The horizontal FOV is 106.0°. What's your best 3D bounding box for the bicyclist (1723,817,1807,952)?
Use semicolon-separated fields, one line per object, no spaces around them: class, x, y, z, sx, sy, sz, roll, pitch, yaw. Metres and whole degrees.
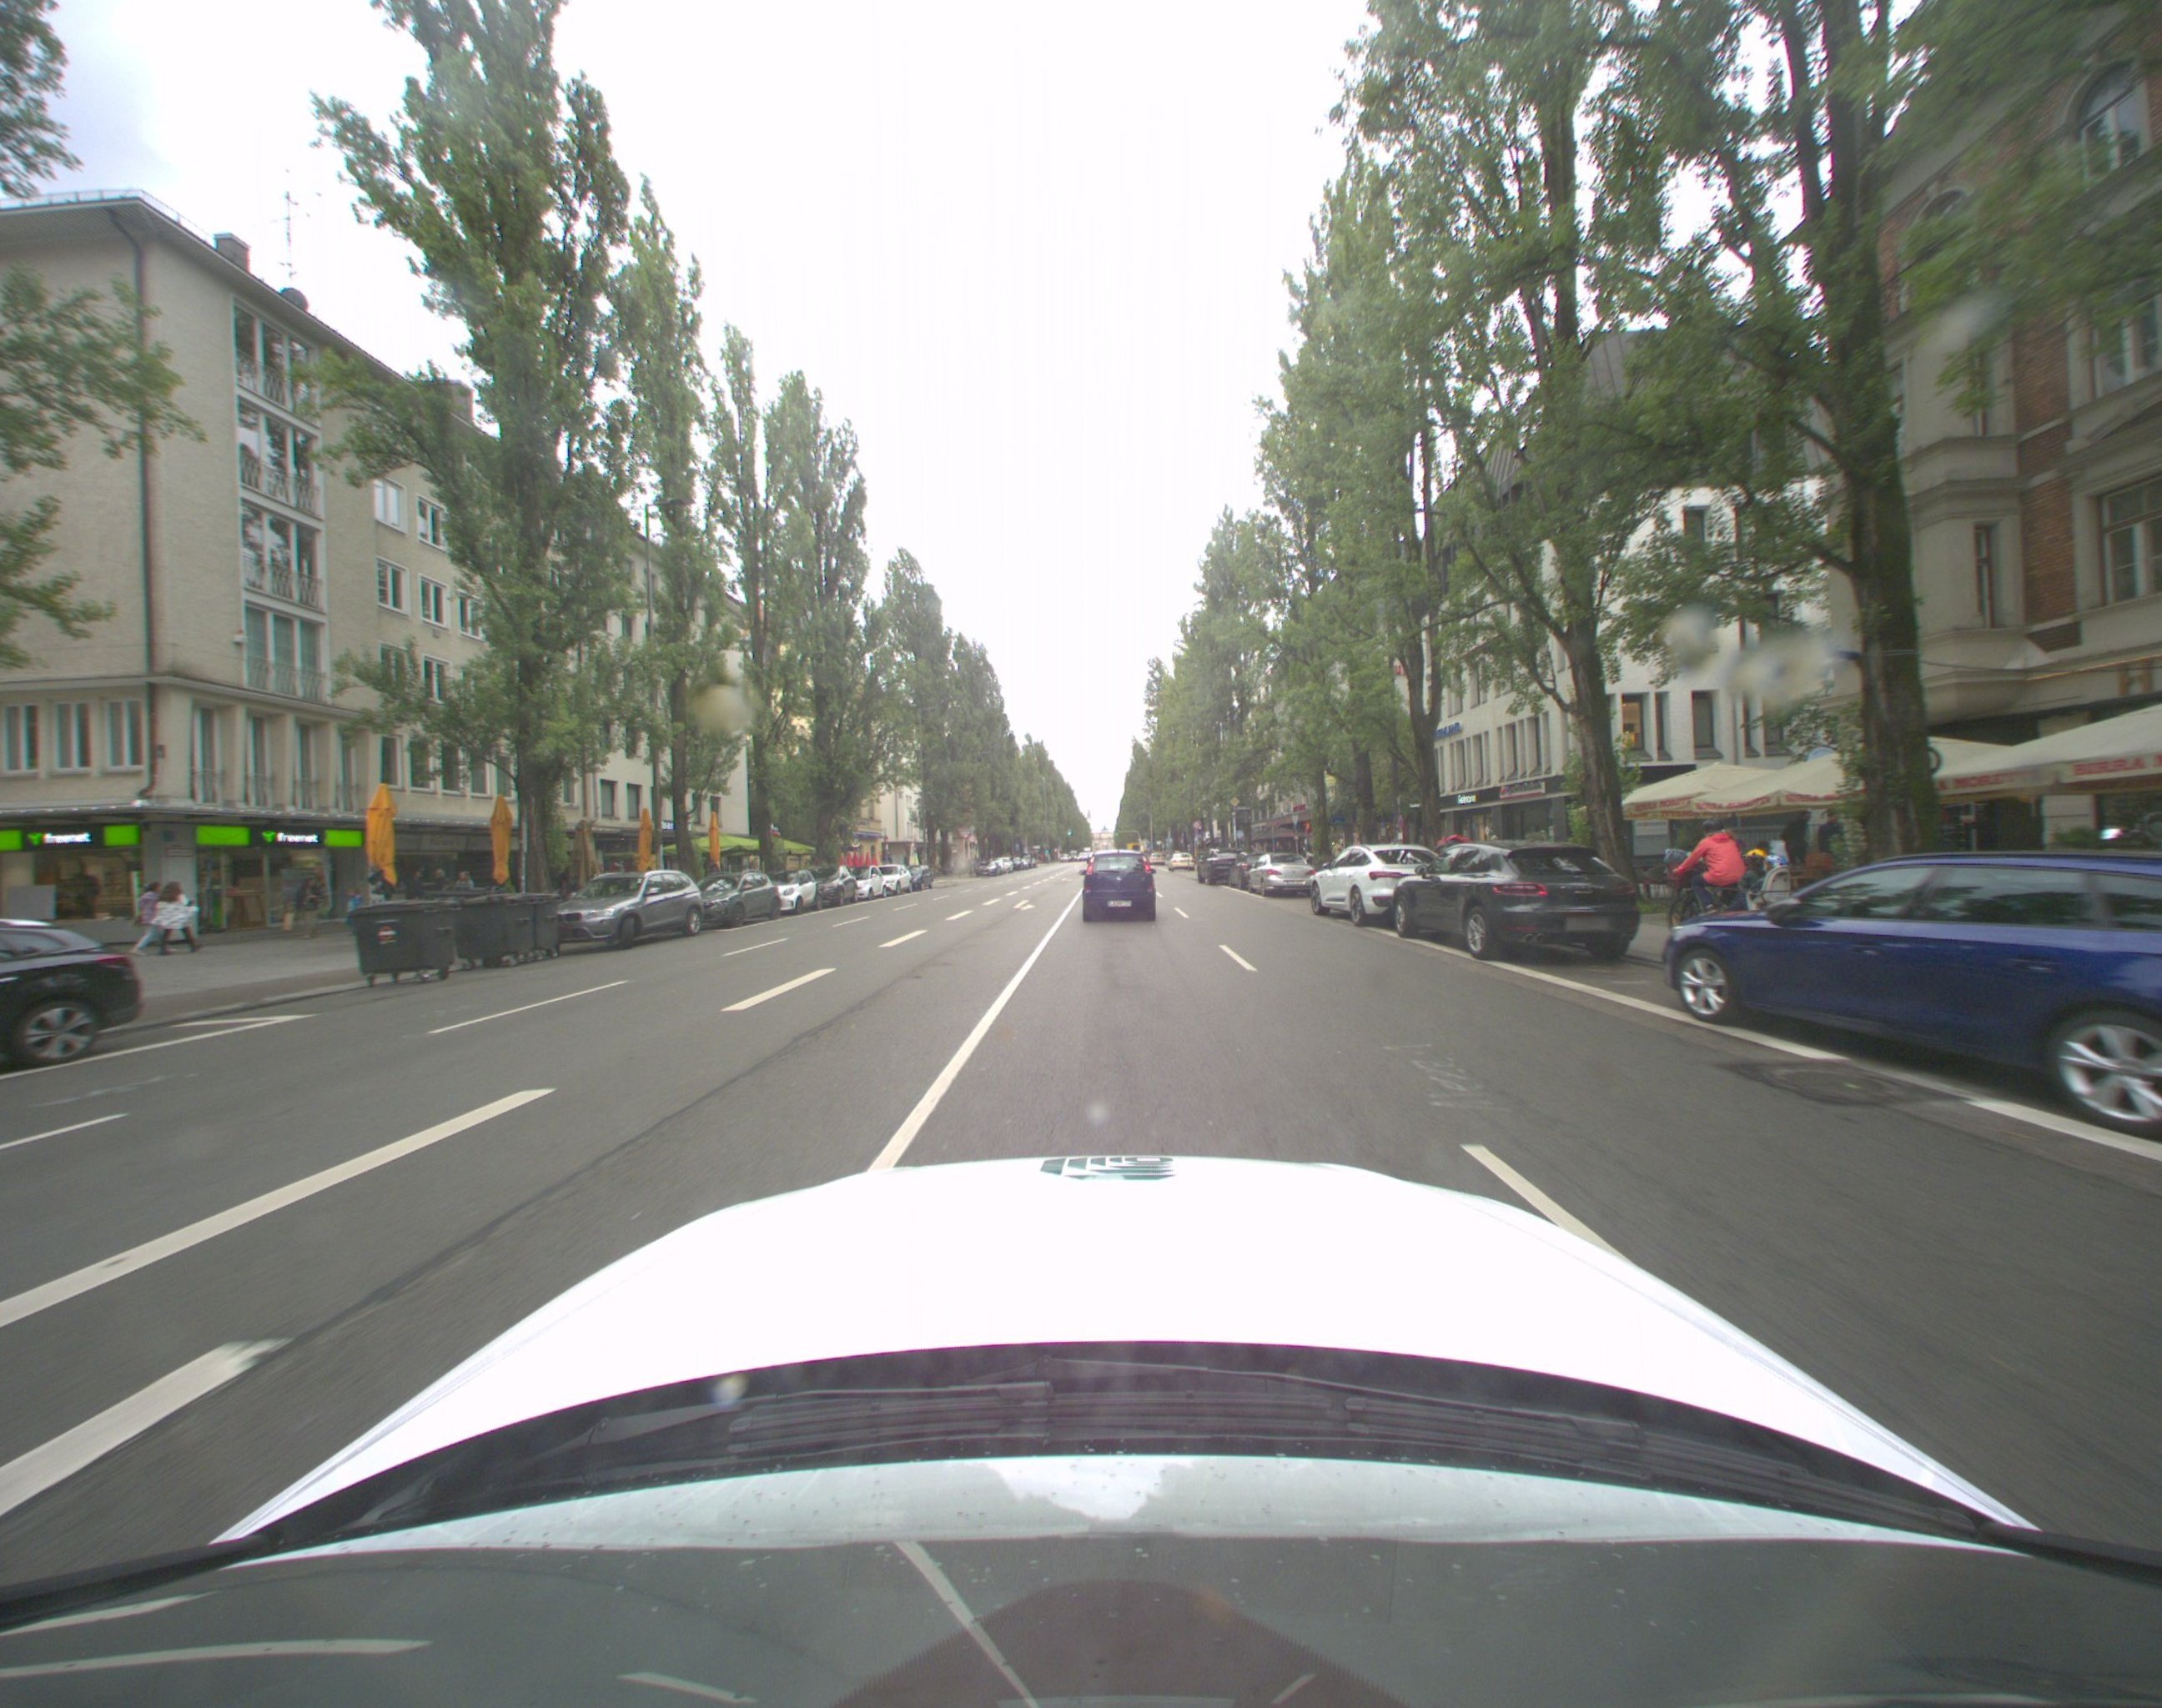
bicyclist;8.322;0.363;9.917;0.619;1.588;0.391;-2;0;1

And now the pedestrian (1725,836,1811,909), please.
pedestrian;12.640;0.333;14.999;0.925;1.267;0.731;-2;0;0

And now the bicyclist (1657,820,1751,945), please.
bicyclist;8.342;0.369;10.930;0.619;1.588;0.753;-2;0;1

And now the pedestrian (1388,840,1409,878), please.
pedestrian;13.785;0.210;35.364;0.651;1.601;0.705;-1;-1;2

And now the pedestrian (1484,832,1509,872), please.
pedestrian;17.379;-0.079;34.075;0.652;1.626;0.704;-2;0;-1

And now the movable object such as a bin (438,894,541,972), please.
movable object such as a bin;-11.005;1.460;15.176;1.255;1.317;0.825;-2;0;0

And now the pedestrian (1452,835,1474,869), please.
pedestrian;18.351;-0.095;39.136;0.652;1.626;0.704;-2;0;-1

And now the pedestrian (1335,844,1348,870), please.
pedestrian;17.545;0.217;54.834;0.651;1.751;0.860;-1;-1;2

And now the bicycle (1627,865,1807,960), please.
bicycle;8.353;0.713;10.856;0.624;1.086;2.264;-2;0;1

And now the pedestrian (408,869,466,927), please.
pedestrian;-20.514;1.378;25.955;0.848;1.744;1.148;-2;0;2

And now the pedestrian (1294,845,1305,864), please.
pedestrian;18.102;0.038;67.382;0.682;1.469;0.678;-2;0;2

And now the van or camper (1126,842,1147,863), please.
van or camper;7.436;-0.188;110.019;2.467;2.581;5.847;-2;0;2

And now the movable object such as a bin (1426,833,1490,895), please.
movable object such as a bin;10.885;0.279;23.583;1.030;1.703;1.585;-2;0;-2

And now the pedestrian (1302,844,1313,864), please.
pedestrian;17.995;-0.014;64.732;0.638;1.526;0.484;-2;0;1

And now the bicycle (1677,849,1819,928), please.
bicycle;10.877;0.546;13.303;1.865;1.192;0.575;-2;0;-3

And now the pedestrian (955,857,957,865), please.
pedestrian;-17.039;0.969;111.042;0.287;1.090;0.259;-2;0;7

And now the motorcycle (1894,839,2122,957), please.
motorcycle;10.274;0.468;9.061;1.826;1.179;0.695;-2;0;-5

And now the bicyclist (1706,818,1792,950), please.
bicyclist;8.327;0.365;10.171;0.619;1.588;0.481;-2;0;1

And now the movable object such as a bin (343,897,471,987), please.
movable object such as a bin;-10.912;1.410;13.233;1.272;1.310;0.902;-2;0;1

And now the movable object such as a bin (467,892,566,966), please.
movable object such as a bin;-11.077;1.453;16.023;1.309;1.317;0.819;-2;0;0

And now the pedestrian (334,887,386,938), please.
pedestrian;-19.671;1.580;22.236;0.623;1.325;0.827;-2;0;0

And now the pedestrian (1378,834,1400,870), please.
pedestrian;16.168;-0.103;42.773;0.790;1.812;0.682;-2;0;-1

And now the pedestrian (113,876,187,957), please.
pedestrian;-20.755;1.380;18.167;0.623;1.721;0.827;-2;0;1

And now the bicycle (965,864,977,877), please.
bicycle;-9.141;1.354;67.601;0.664;1.006;2.460;-2;0;-2

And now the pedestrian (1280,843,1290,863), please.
pedestrian;16.000;-0.050;63.913;0.638;1.526;0.484;-2;0;1

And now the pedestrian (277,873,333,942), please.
pedestrian;-20.396;1.384;21.417;0.623;1.721;0.827;-2;0;0

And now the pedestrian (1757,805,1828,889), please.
pedestrian;15.870;-0.147;18.189;0.726;1.802;0.932;-2;0;2

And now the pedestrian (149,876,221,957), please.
pedestrian;-20.049;1.373;18.245;0.623;1.721;0.827;-2;0;1

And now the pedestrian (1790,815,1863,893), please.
pedestrian;16.609;0.000;18.173;0.726;1.677;0.932;-2;0;2

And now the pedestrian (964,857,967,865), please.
pedestrian;-15.577;0.944;110.149;0.287;1.090;0.259;-2;0;7

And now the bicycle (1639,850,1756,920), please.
bicycle;10.794;0.535;14.269;1.826;1.139;0.370;-2;0;-5

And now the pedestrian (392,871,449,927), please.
pedestrian;-21.554;1.437;26.591;0.848;1.744;1.148;-2;0;2

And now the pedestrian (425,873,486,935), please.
pedestrian;-18.571;1.475;24.209;0.848;1.744;1.148;-2;0;2
